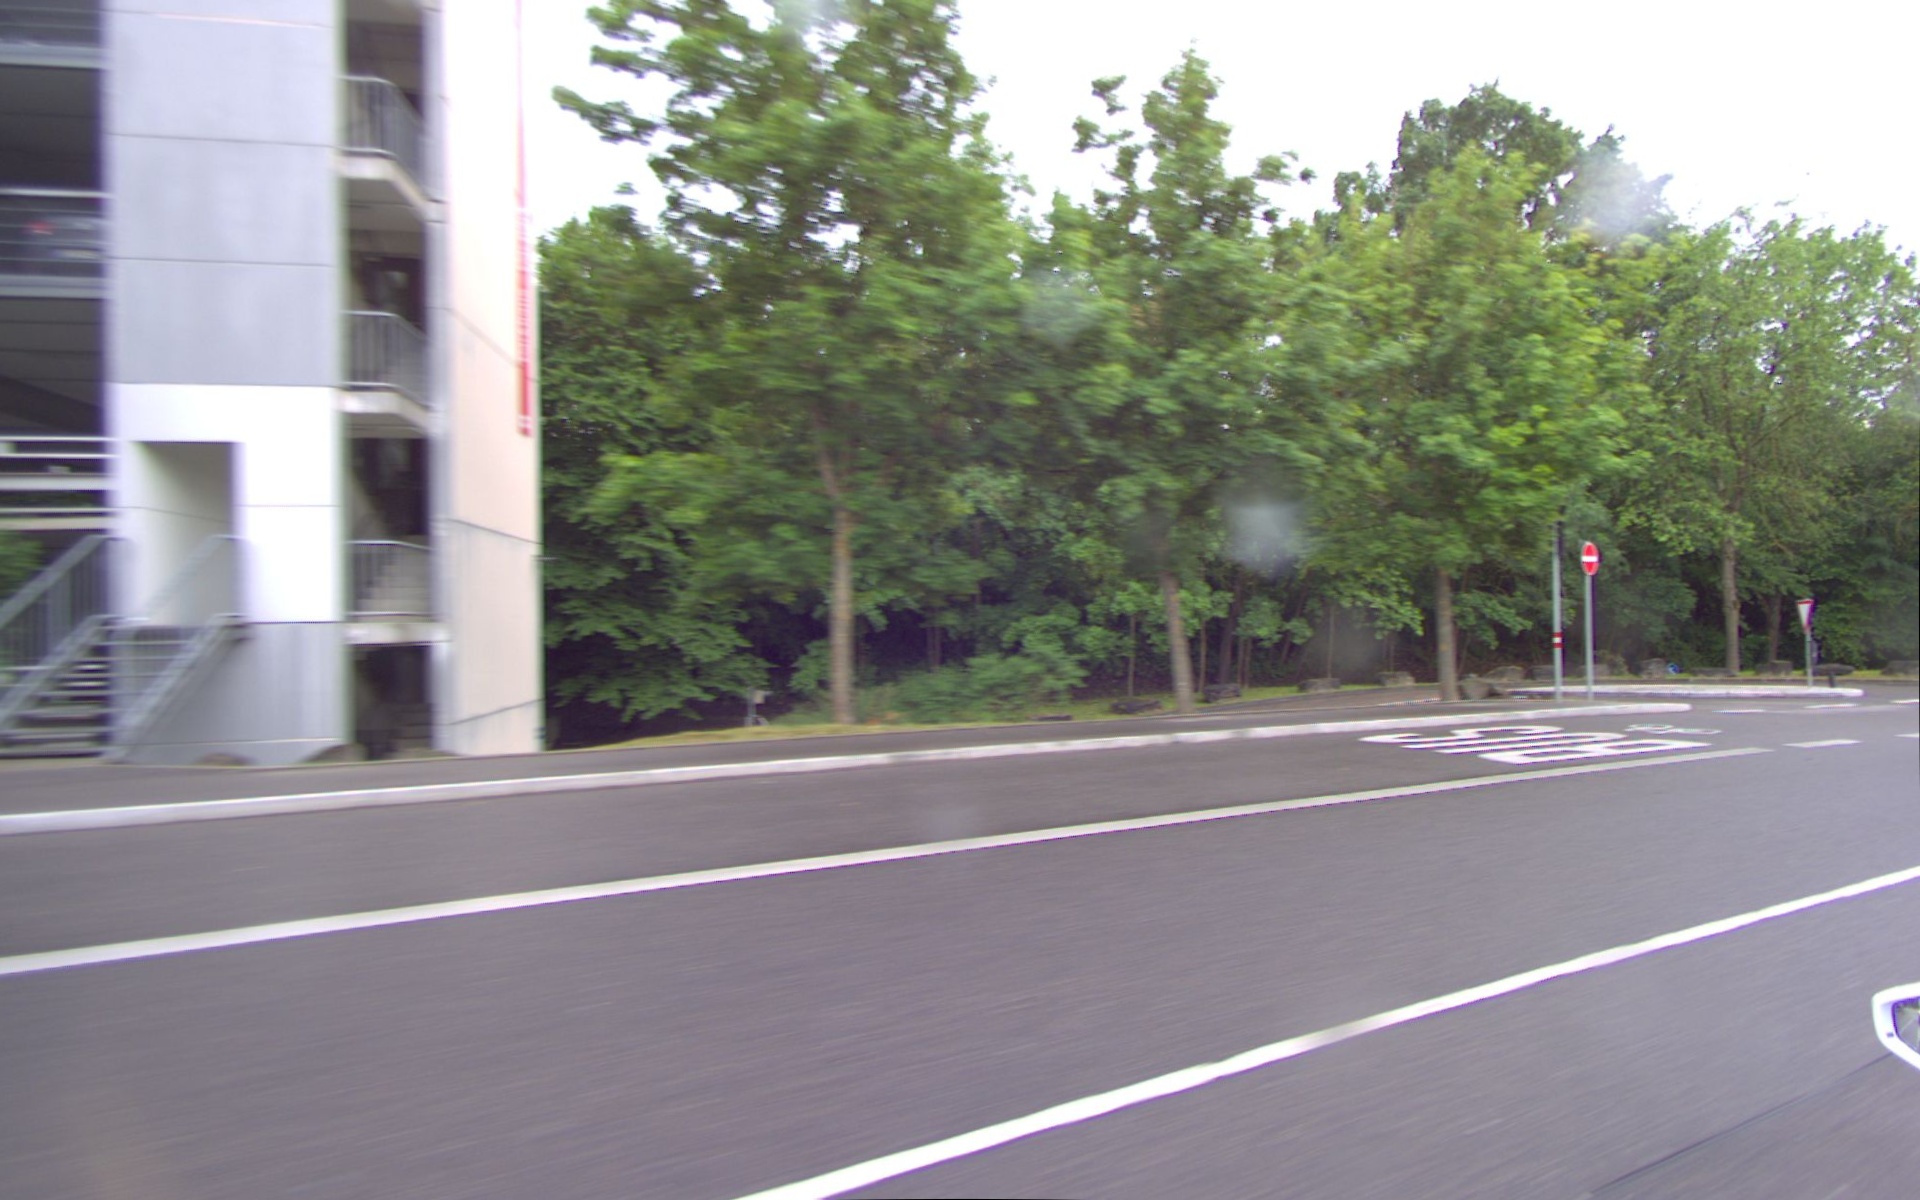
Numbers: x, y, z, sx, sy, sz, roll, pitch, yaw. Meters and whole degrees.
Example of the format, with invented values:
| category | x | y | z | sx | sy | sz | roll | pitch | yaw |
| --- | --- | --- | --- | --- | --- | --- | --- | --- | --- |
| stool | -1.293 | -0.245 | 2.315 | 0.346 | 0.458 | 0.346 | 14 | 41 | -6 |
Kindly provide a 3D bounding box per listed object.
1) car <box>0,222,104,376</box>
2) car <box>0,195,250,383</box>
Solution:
| category | x | y | z | sx | sy | sz | roll | pitch | yaw |
| --- | --- | --- | --- | --- | --- | --- | --- | --- | --- |
| car | -14.062 | -4.399 | 14.186 | 1.558 | 1.539 | 3.239 | 0 | -3 | -11 |
| car | -12.130 | -4.402 | 14.722 | 1.558 | 1.539 | 3.239 | 0 | -3 | -11 |
